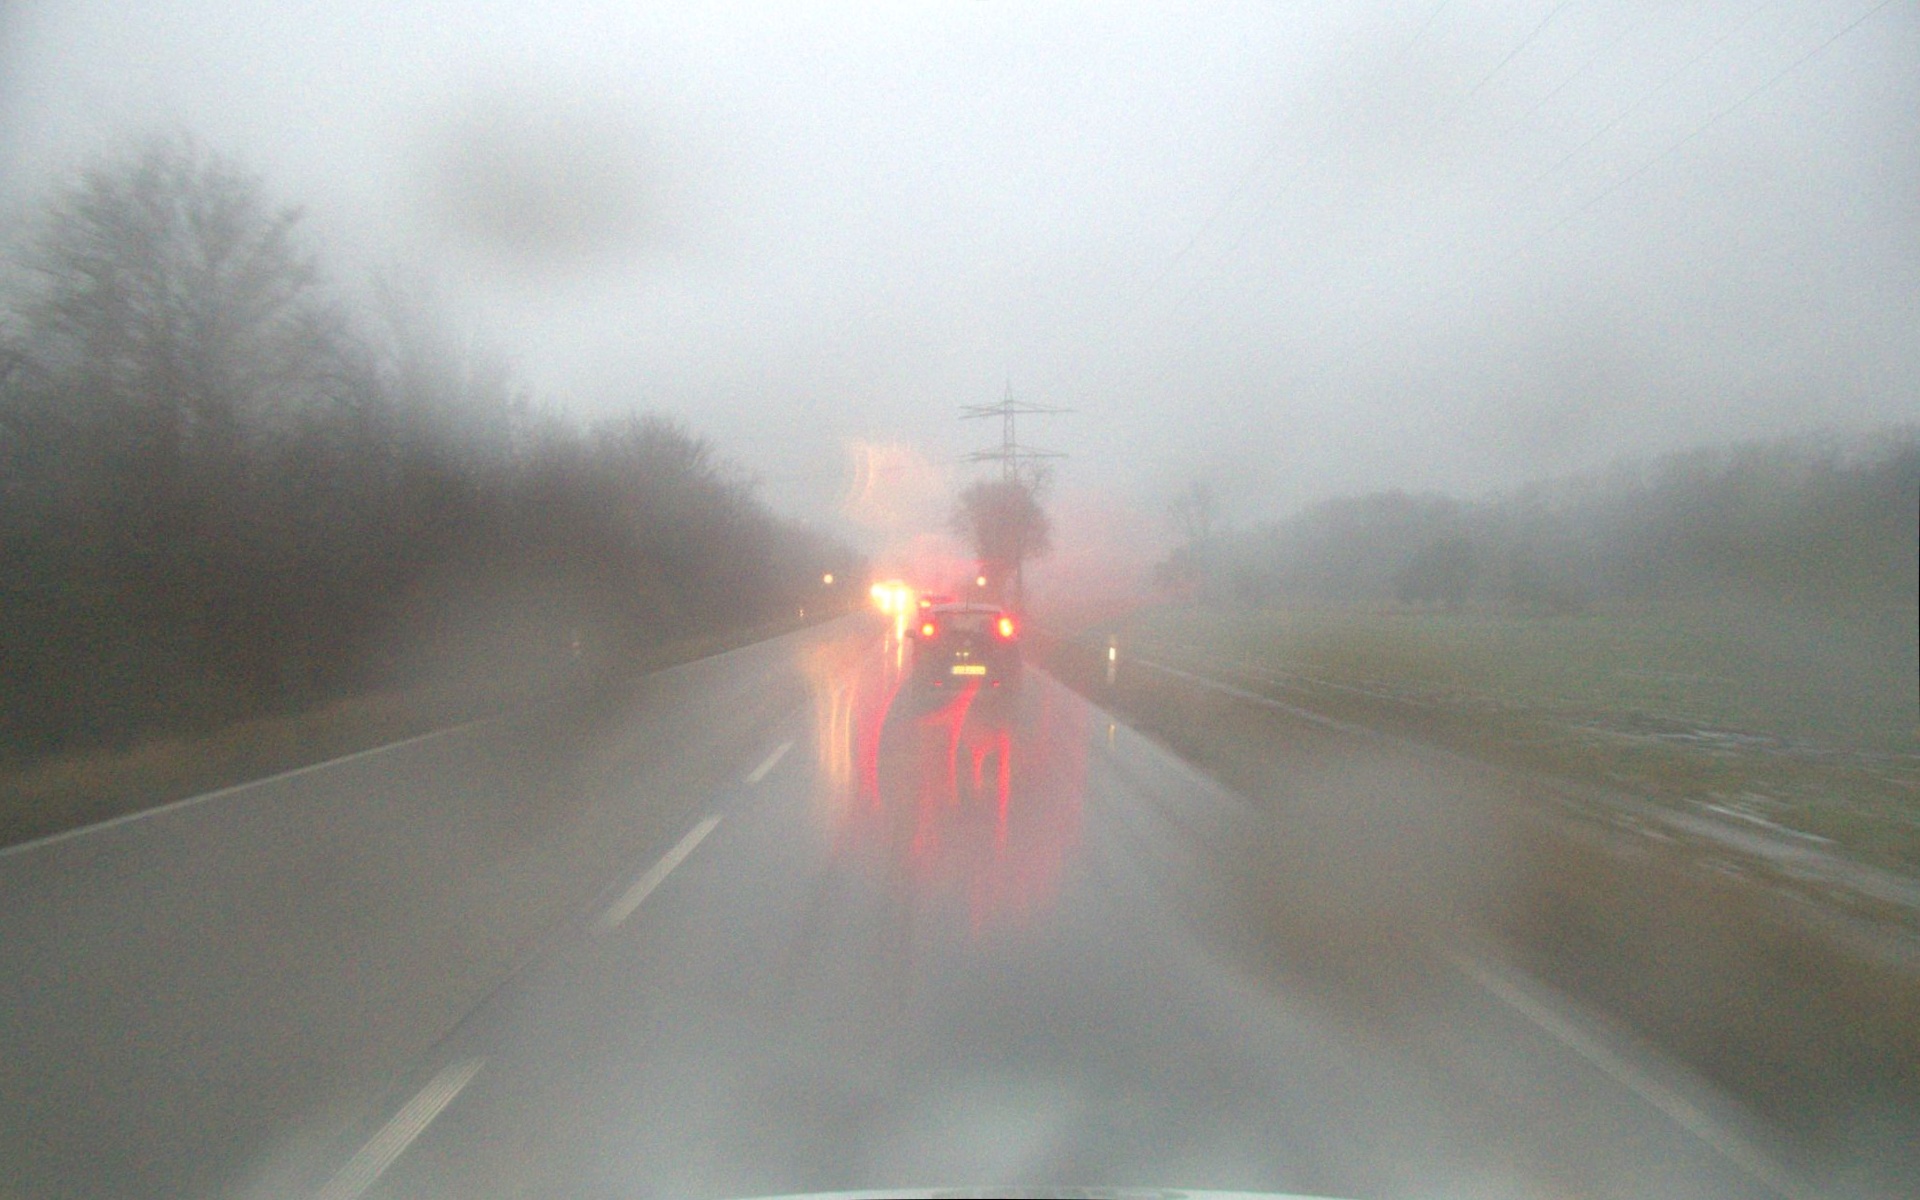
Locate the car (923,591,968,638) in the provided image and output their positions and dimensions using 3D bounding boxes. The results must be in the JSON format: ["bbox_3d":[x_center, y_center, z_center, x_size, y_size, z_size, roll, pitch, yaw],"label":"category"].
[{"bbox_3d":[-0.664,0.651,75.863,1.953,2.049,4.000,1,1,-1],"label":"car"}]

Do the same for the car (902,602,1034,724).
[{"bbox_3d":[0.084,0.926,26.372,1.953,1.783,3.999,0,0,-1],"label":"car"}]
